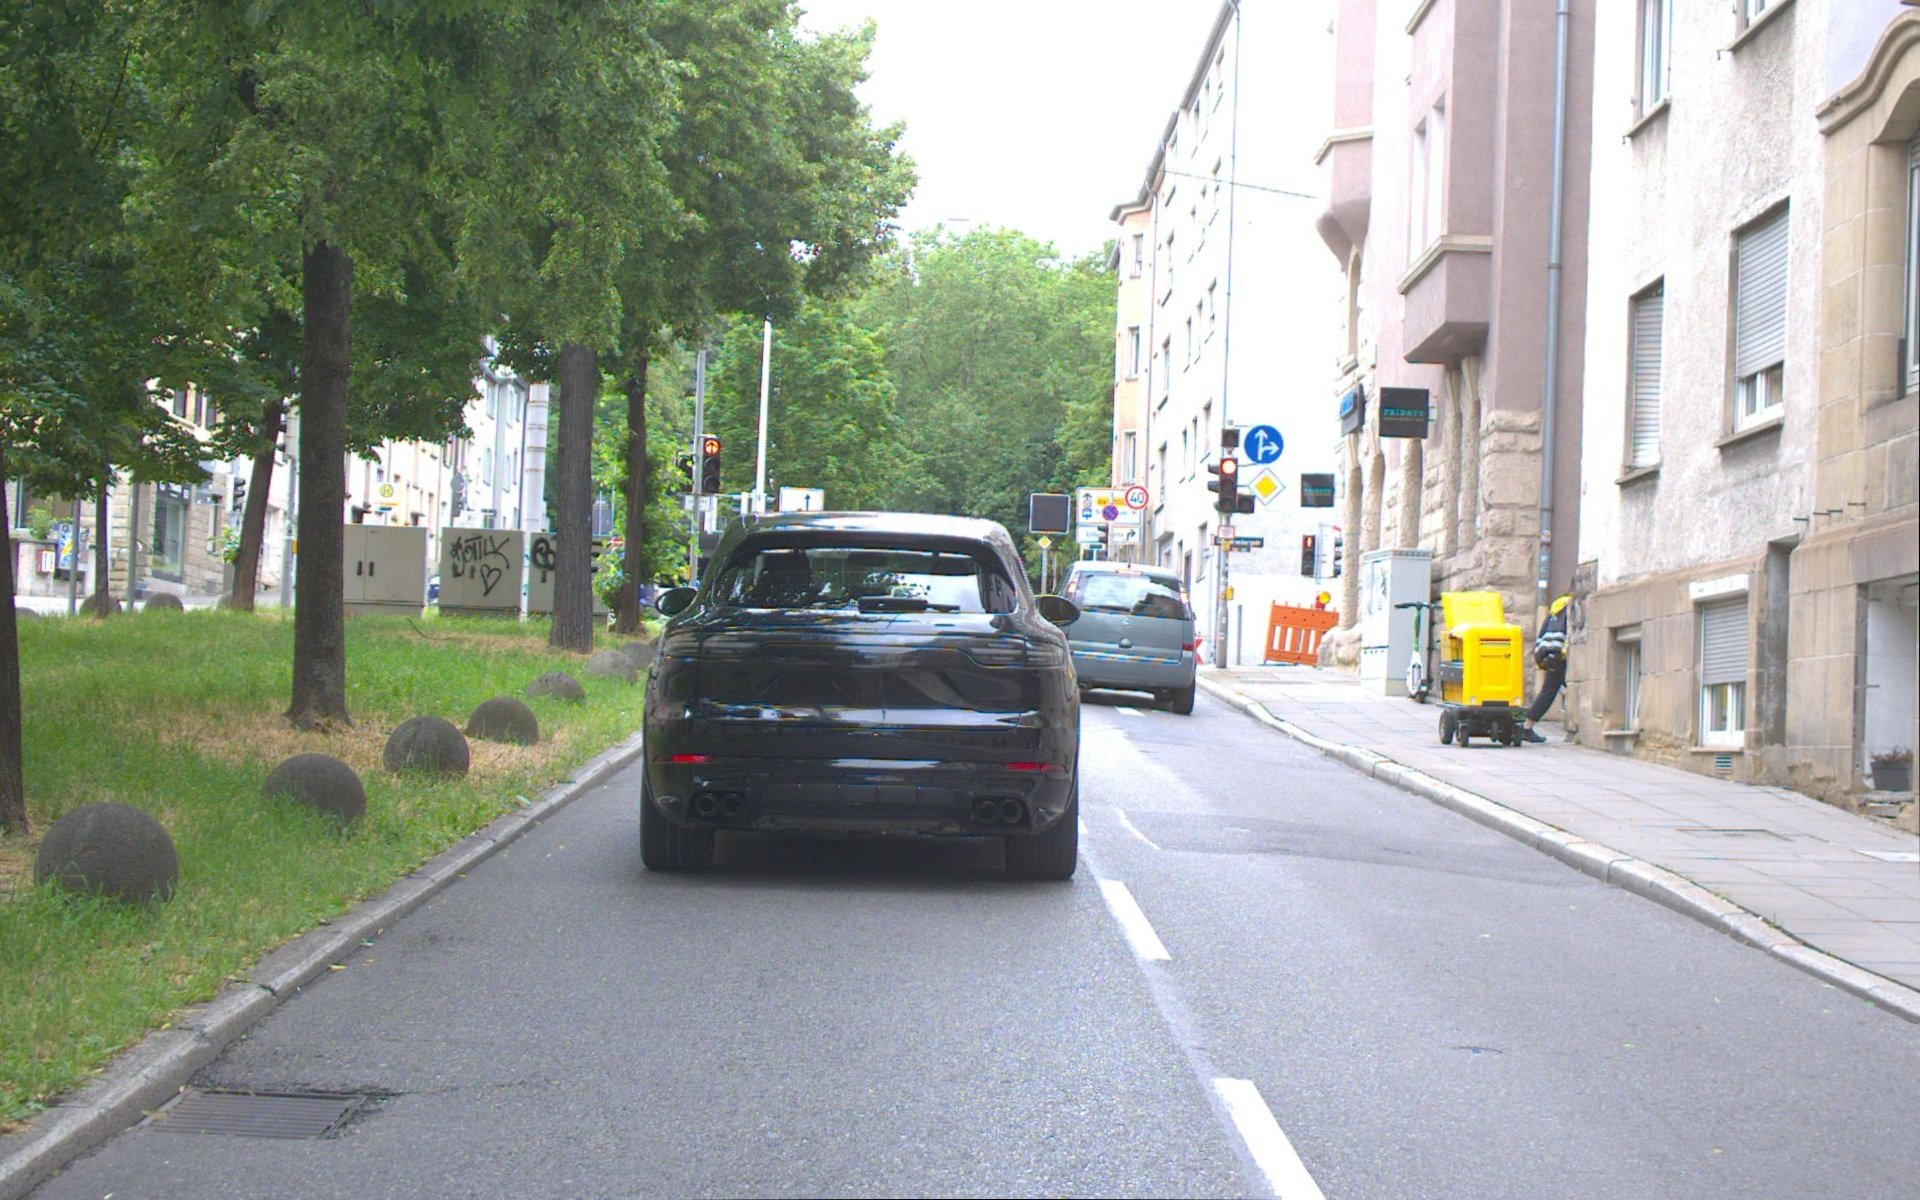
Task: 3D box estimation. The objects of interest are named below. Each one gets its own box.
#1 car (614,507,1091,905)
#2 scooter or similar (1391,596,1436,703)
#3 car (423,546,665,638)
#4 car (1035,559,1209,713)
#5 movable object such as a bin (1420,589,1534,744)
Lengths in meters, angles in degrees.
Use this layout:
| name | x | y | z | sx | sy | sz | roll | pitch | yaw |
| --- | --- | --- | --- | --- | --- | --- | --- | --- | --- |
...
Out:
| name | x | y | z | sx | sy | sz | roll | pitch | yaw |
| --- | --- | --- | --- | --- | --- | --- | --- | --- | --- |
| car | -0.454 | 0.415 | 16.673 | 1.994 | 1.647 | 4.000 | 2 | 1 | 0 |
| scooter or similar | 5.300 | 0.570 | 40.238 | 0.401 | 1.184 | 1.354 | 1 | 2 | 3 |
| car | -7.791 | -0.159 | 64.549 | 4.205 | 1.505 | 1.800 | 3 | 1 | 3 |
| car | 1.800 | 0.370 | 39.125 | 1.752 | 1.588 | 3.630 | 3 | 1 | 0 |
| movable object such as a bin | 4.898 | 0.622 | 32.662 | 0.719 | 1.416 | 1.693 | 1 | -1 | -3 |
